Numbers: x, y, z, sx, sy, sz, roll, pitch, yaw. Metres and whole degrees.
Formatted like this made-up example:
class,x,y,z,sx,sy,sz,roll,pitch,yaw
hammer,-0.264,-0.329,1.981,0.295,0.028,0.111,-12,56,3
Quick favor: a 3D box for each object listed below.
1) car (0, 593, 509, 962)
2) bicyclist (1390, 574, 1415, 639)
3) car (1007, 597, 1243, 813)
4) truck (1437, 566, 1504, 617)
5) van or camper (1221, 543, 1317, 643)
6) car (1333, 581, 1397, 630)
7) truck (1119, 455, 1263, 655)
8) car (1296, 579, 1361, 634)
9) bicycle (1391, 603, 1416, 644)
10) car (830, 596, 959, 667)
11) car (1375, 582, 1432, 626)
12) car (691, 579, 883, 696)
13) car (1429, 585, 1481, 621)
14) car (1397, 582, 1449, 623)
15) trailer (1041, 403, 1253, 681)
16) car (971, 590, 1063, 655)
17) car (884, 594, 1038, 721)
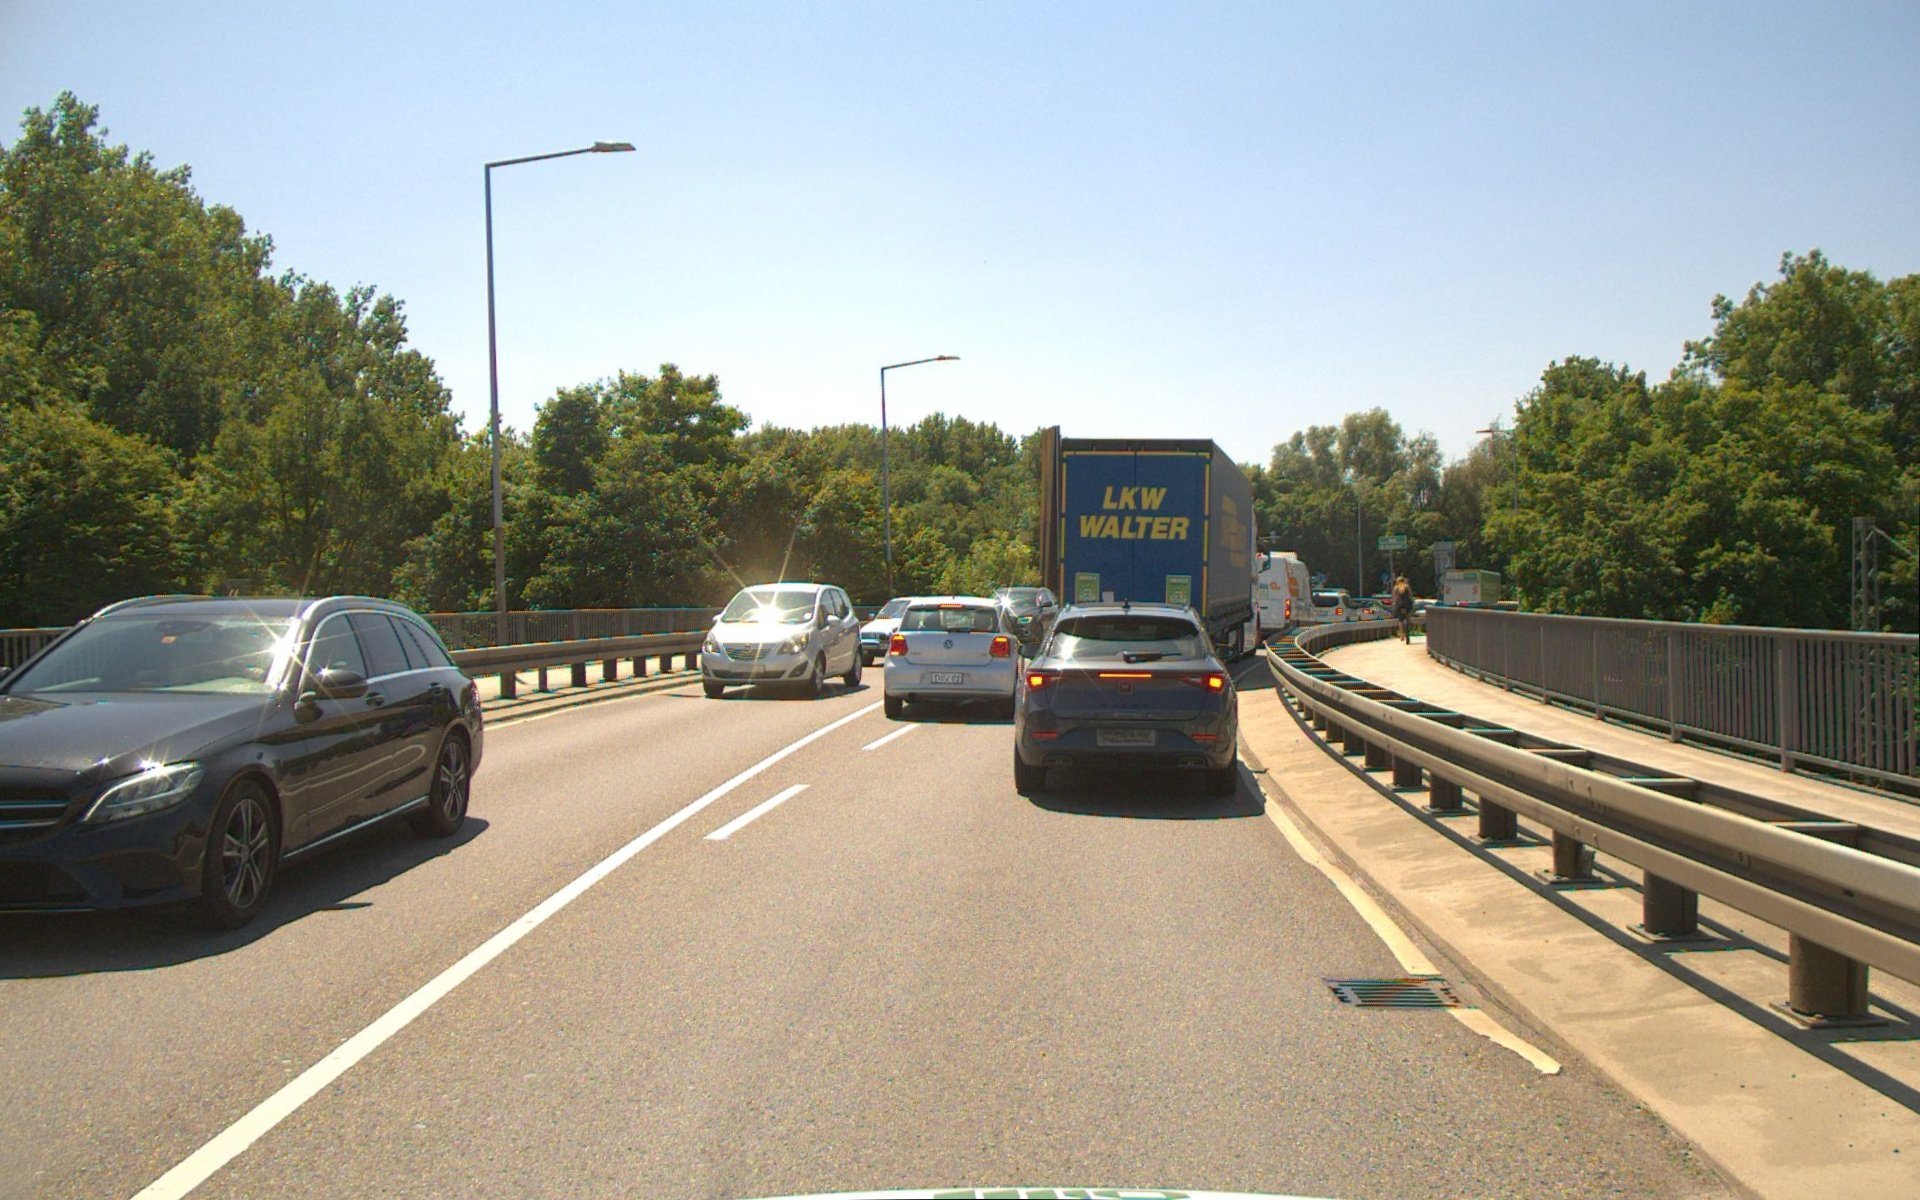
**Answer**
class,x,y,z,sx,sy,sz,roll,pitch,yaw
car,-3.907,0.699,8.772,1.735,1.464,4.392,0,0,1
bicyclist,11.887,0.168,44.380,0.565,1.712,0.730,-2,-1,17
car,1.409,0.730,13.635,1.641,1.481,3.962,1,0,7
truck,30.067,-0.500,97.232,2.293,2.924,5.925,1,0,33
van or camper,9.593,-0.221,50.904,2.109,2.865,6.390,1,0,18
car,16.018,0.189,65.288,1.687,1.834,3.997,1,1,25
truck,5.802,-1.054,40.681,2.842,4.496,6.561,1,0,13
car,13.140,0.192,58.903,1.685,1.876,4.000,1,1,21
bicycle,11.920,0.632,44.418,0.570,1.054,1.486,-2,-1,17
car,-1.305,0.622,34.738,1.661,1.400,4.003,0,0,14
car,19.635,0.158,73.067,1.687,1.876,3.996,1,1,26
car,-2.506,0.513,25.002,1.699,1.607,4.180,0,0,11
car,25.489,0.190,85.028,1.654,1.791,3.991,1,0,31
car,22.093,0.113,78.823,1.687,1.876,3.996,1,1,26
trailer,4.106,-1.006,33.116,2.842,4.496,12.444,1,1,13
car,1.595,0.572,44.688,1.762,1.669,4.304,0,0,12
car,0.100,0.672,21.513,1.642,1.435,3.978,1,1,5
